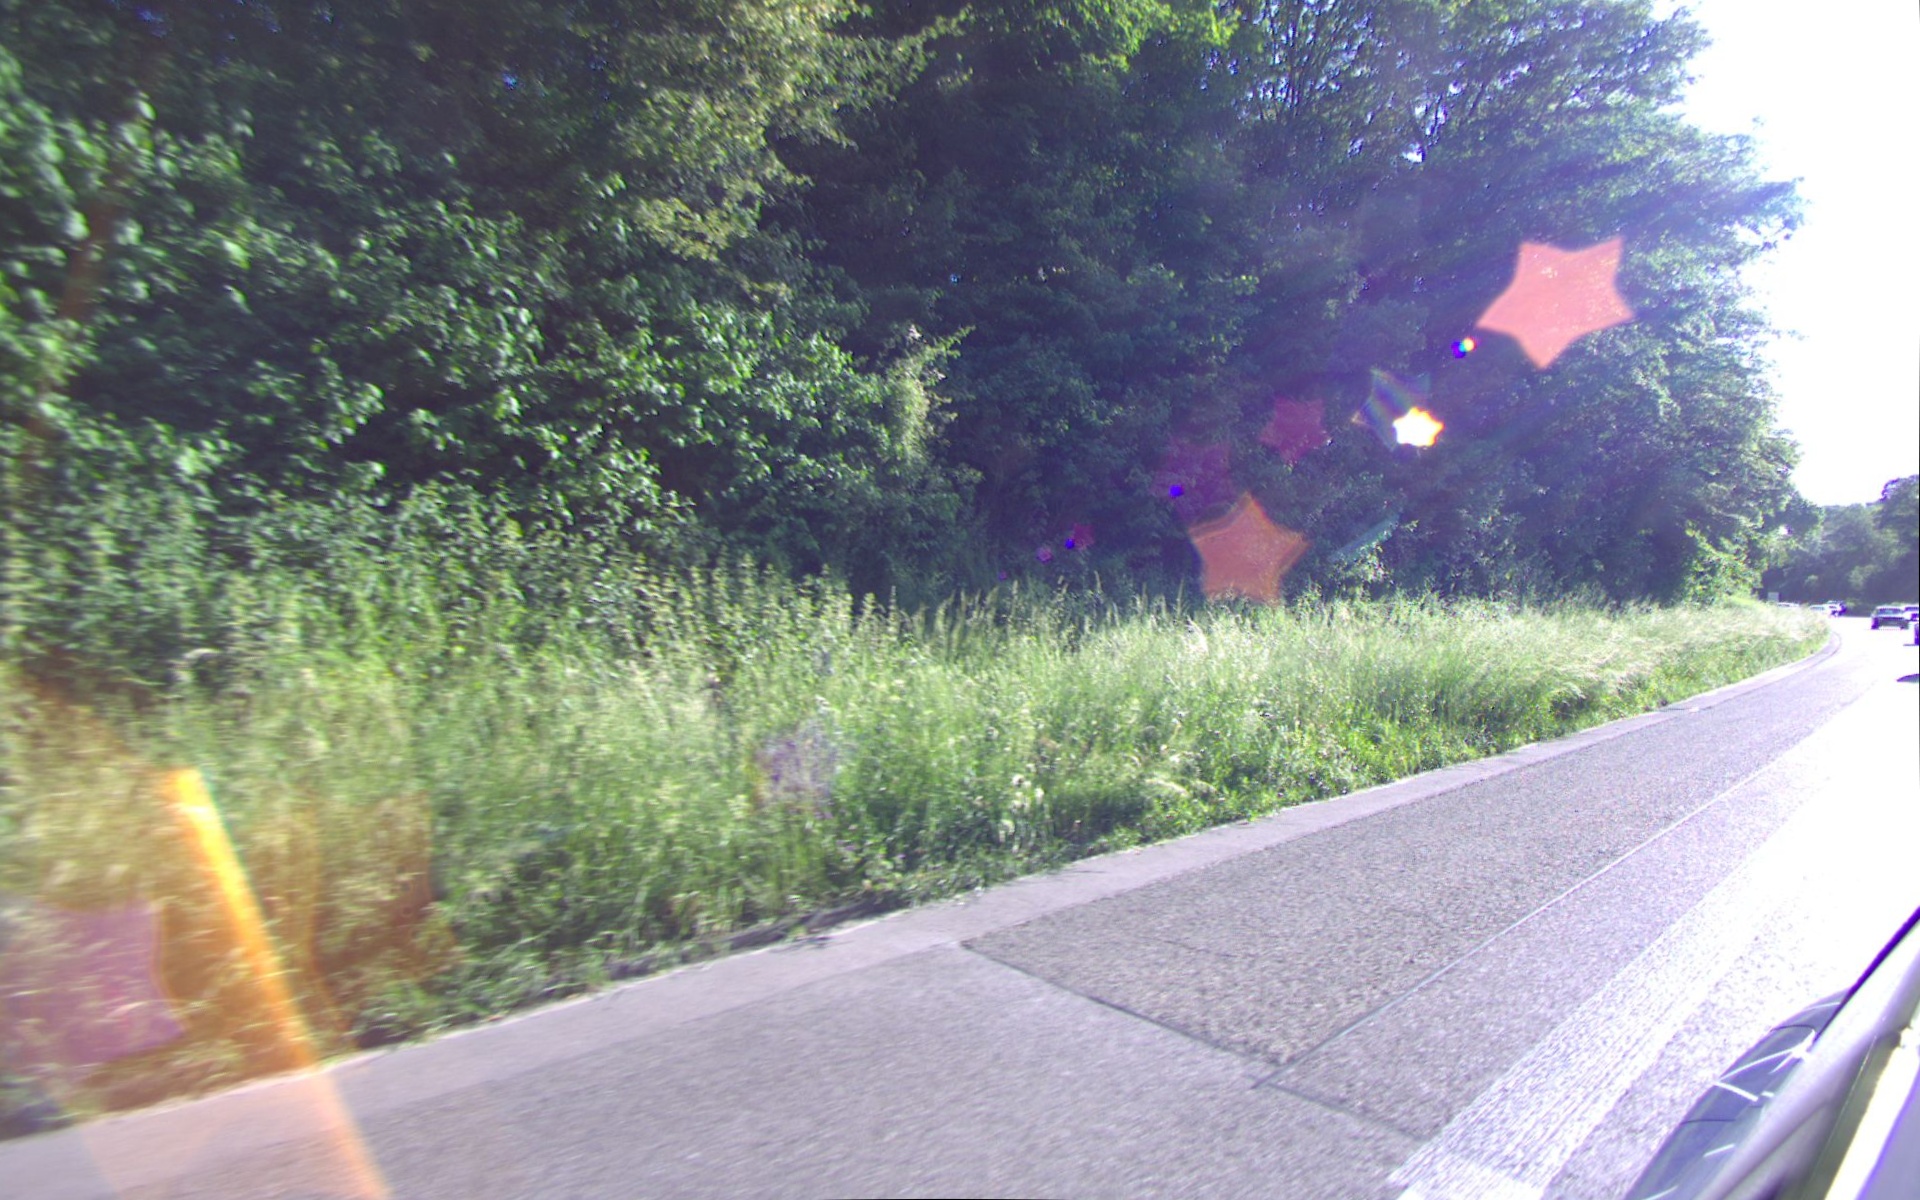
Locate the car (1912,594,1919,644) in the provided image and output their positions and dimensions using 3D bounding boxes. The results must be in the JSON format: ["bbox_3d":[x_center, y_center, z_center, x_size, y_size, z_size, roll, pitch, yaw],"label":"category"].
[{"bbox_3d":[41.898,0.759,42.754,2.249,1.876,5.066,-1,2,42],"label":"car"}]

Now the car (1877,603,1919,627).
[{"bbox_3d":[63.776,0.969,68.890,1.928,1.527,5.010,1,1,41],"label":"car"}]

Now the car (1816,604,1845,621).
[{"bbox_3d":[94.995,1.370,110.527,1.923,1.526,5.023,-1,2,35],"label":"car"}]
